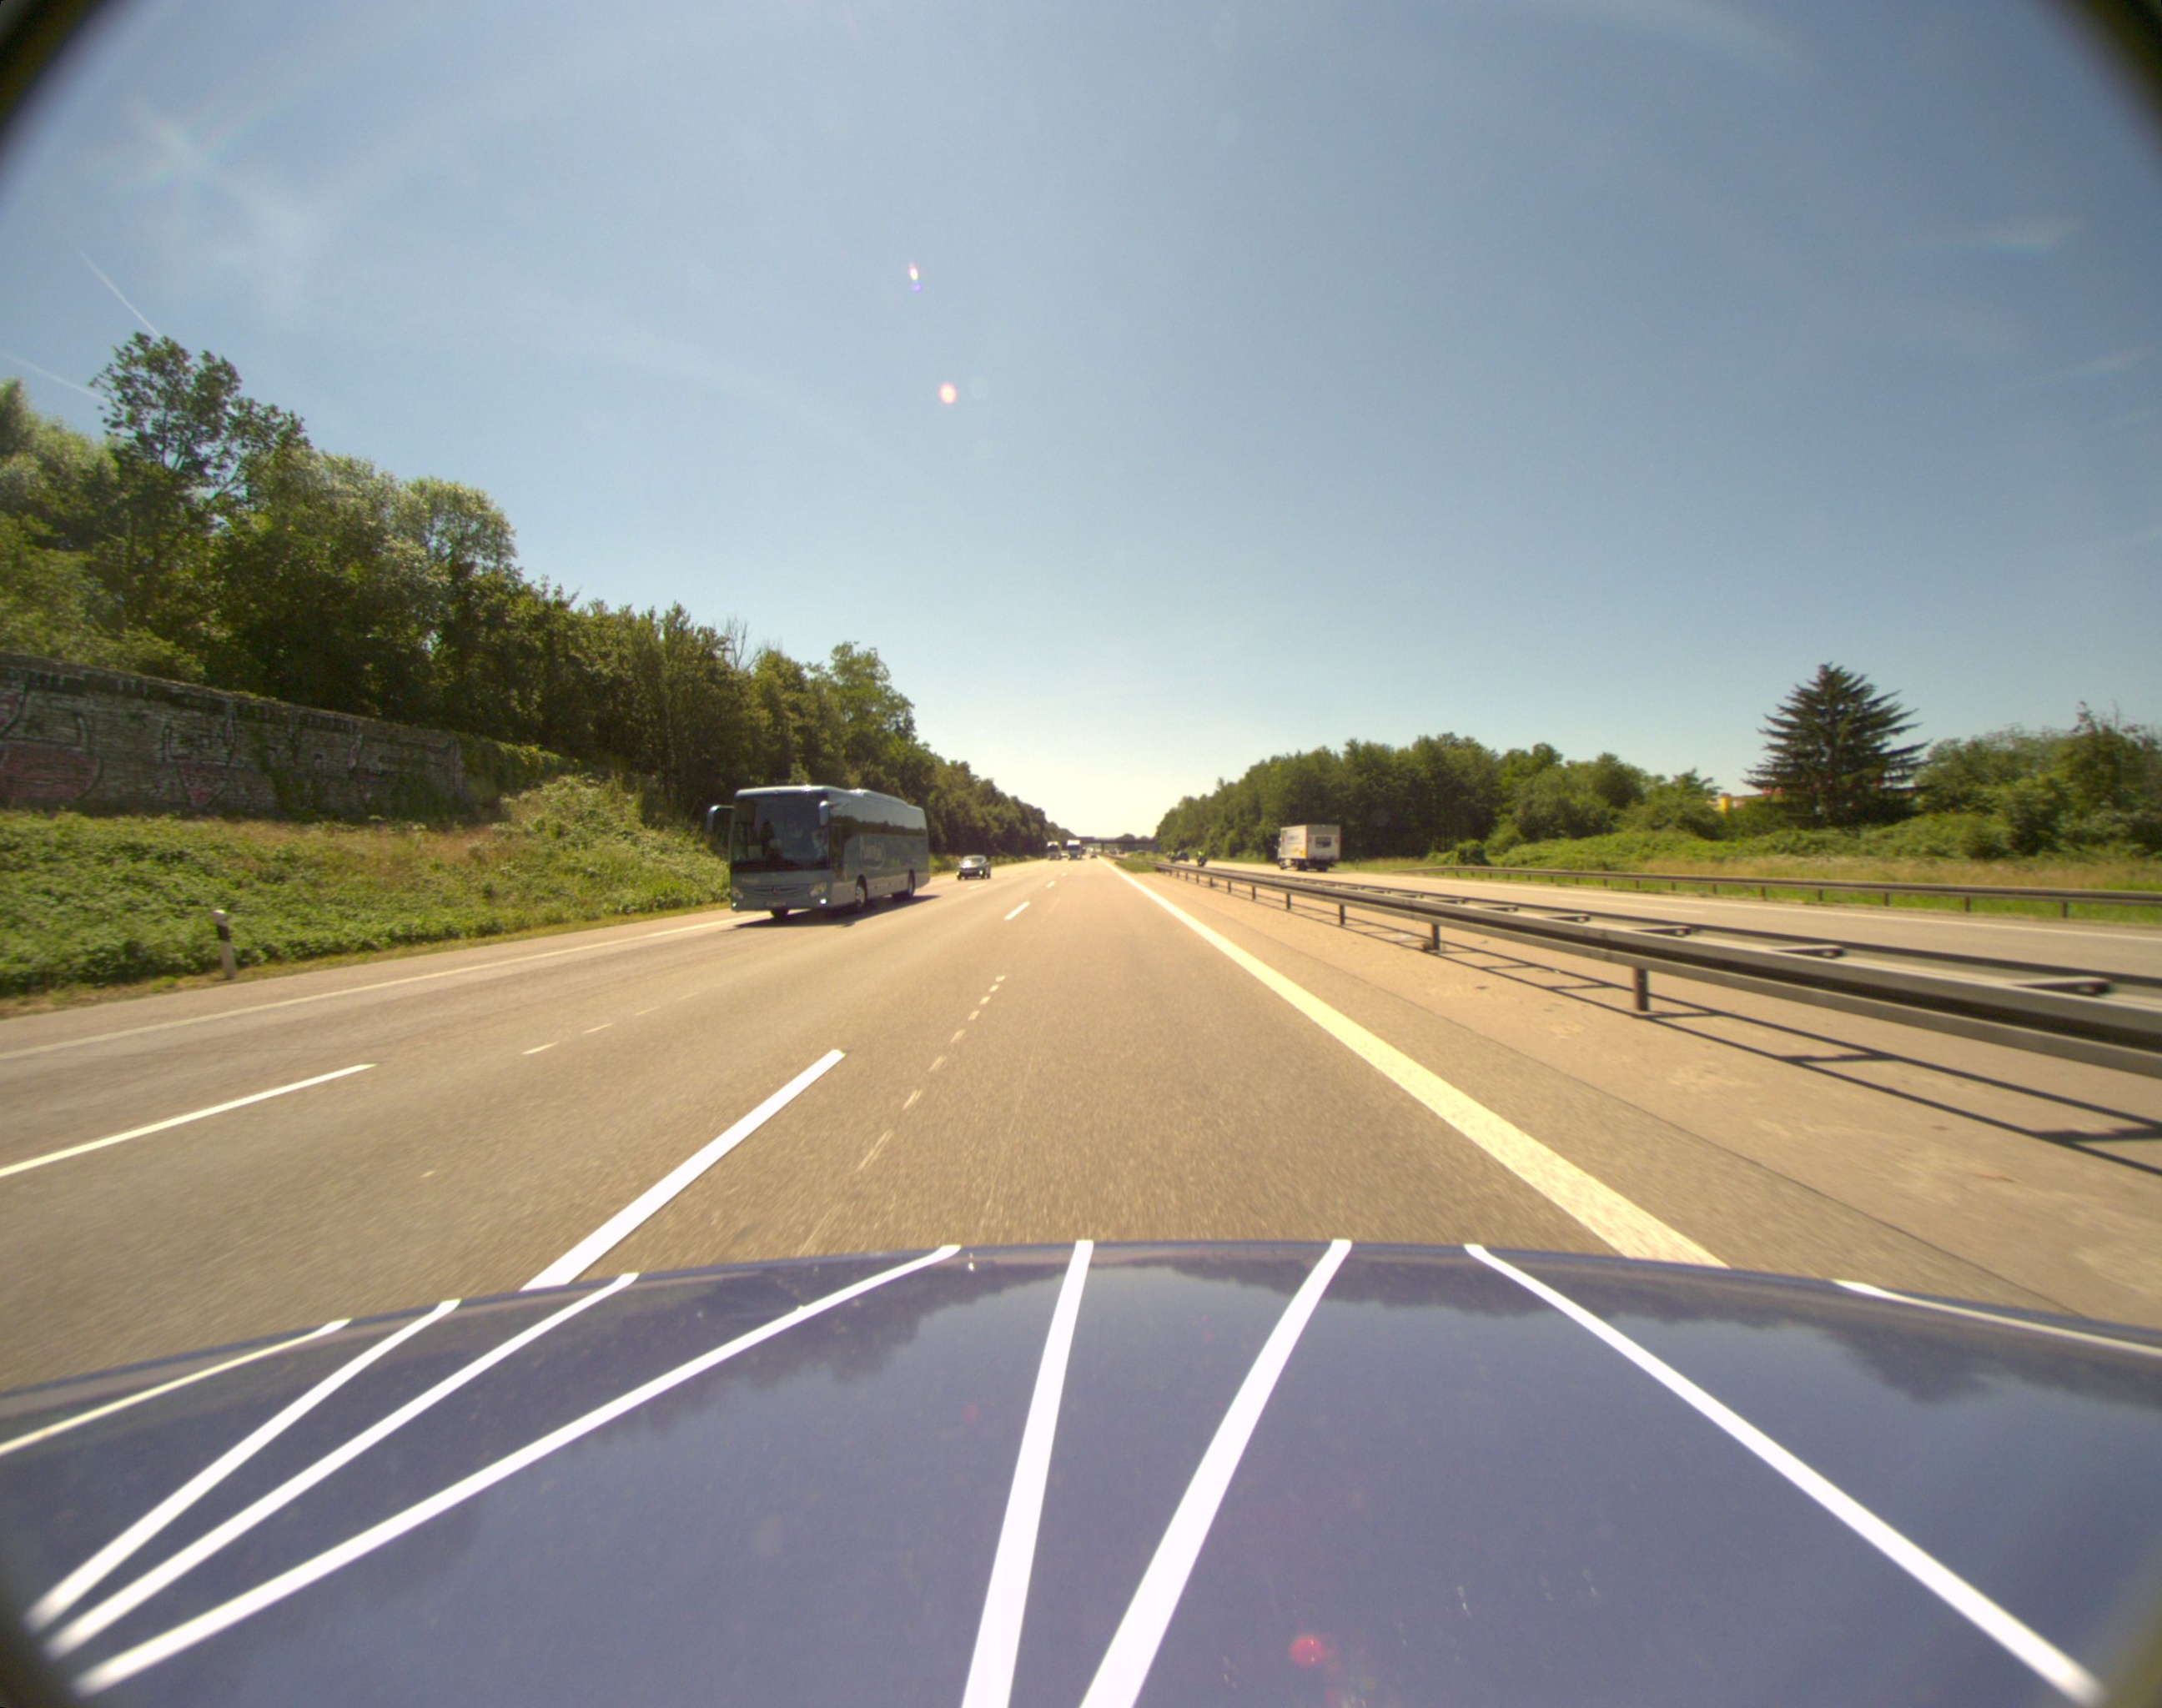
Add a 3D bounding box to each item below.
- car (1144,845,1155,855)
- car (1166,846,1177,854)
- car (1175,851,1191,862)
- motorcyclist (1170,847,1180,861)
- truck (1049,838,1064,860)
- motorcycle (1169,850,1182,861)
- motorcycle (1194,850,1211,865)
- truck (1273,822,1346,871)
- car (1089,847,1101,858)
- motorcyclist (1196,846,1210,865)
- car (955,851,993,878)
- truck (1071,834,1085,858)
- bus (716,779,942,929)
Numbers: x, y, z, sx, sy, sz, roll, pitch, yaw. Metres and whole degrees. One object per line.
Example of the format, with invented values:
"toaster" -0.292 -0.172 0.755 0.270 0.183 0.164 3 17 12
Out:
"car" 13.351 -0.781 148.756 1.844 1.771 3.512 -2 1 1
"car" 19.681 -0.830 165.850 1.867 1.651 3.999 -2 1 1
"car" 15.691 0.394 117.020 1.850 1.663 4.185 1 1 1
"motorcyclist" 10.981 -0.033 88.660 1.043 1.590 1.151 -2 1 1
"truck" -5.365 -1.062 169.228 2.616 4.638 10.960 -2 1 1
"motorcycle" 10.972 0.159 88.691 1.037 1.231 3.810 -2 1 1
"motorcycle" 10.506 0.283 65.609 1.037 1.260 2.577 -2 1 1
"truck" 18.684 -0.632 62.996 3.002 3.598 10.269 -2 1 1
"car" 3.098 -0.295 173.439 2.616 2.389 7.122 -2 1 1
"motorcyclist" 10.529 0.120 65.542 1.043 1.590 1.151 -2 1 1
"car" -7.076 0.683 50.616 1.814 1.607 3.999 -2 1 1
"truck" -0.684 -1.686 160.599 2.616 4.638 10.960 -2 1 1
"bus" -7.313 -0.080 25.125 2.617 3.532 13.681 -2 1 1
